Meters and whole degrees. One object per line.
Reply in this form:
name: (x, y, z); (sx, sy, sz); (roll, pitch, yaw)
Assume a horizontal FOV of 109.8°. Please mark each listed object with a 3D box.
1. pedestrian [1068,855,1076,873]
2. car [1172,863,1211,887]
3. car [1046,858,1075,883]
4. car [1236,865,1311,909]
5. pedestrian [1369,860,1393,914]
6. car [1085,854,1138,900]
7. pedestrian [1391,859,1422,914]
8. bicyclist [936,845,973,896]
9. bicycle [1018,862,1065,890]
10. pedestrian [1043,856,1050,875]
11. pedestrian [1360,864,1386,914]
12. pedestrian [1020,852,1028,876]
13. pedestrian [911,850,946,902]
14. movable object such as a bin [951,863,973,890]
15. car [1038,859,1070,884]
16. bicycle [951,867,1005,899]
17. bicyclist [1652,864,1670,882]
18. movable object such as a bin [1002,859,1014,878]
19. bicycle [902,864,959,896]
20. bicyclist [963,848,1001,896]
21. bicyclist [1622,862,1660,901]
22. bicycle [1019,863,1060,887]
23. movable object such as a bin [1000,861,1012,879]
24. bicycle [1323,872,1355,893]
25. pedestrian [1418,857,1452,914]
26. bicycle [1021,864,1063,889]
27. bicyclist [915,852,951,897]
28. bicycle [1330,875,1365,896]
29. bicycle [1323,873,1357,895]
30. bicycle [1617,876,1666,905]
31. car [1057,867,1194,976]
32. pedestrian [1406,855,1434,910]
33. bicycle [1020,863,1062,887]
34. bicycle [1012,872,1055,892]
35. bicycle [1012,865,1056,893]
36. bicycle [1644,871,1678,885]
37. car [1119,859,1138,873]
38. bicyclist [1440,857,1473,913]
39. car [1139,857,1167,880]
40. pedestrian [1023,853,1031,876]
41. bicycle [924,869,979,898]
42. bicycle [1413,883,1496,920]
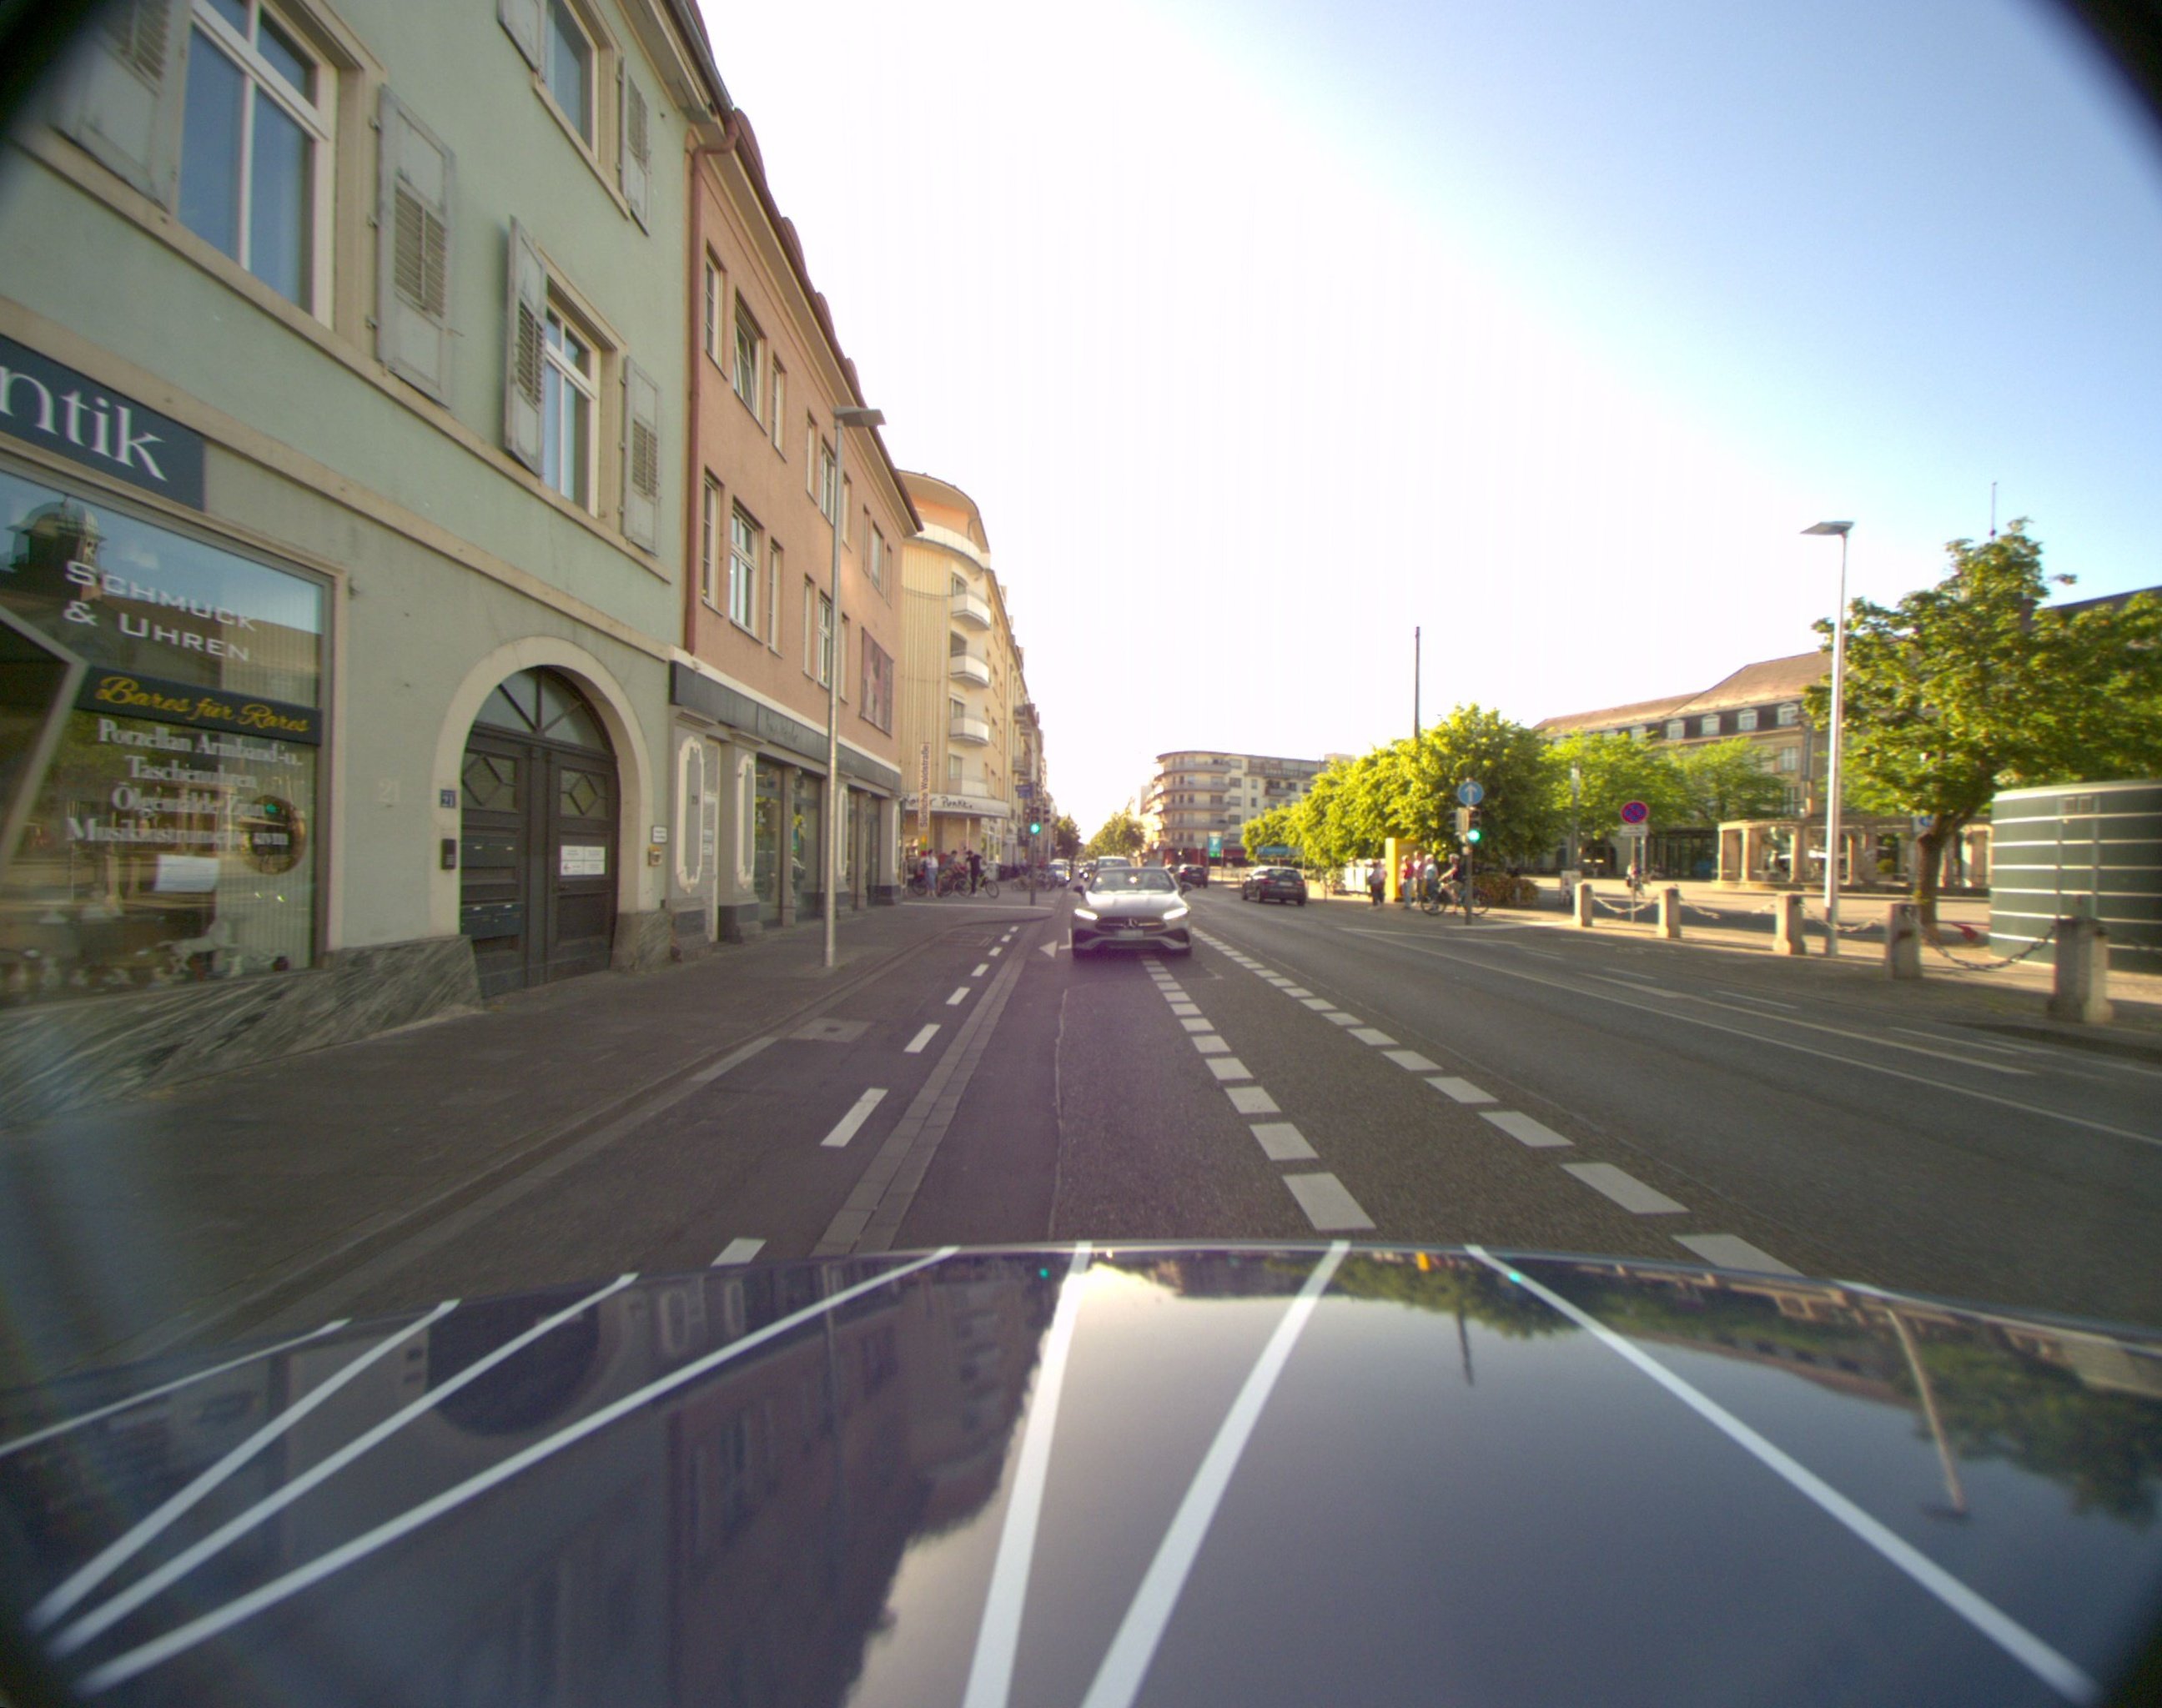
pedestrian: (-0.895, 1.041, 78.257); (0.610, 1.912, 0.714); (1, 0, 12)
car: (7.175, 1.334, 49.701); (1.753, 1.415, 4.254); (2, 0, -3)
car: (-1.508, 1.200, 55.769); (1.999, 1.724, 4.198); (1, 0, -2)
car: (7.249, 1.194, 29.030); (1.655, 1.389, 4.042); (5, 0, -2)
pedestrian: (10.406, 1.122, 26.334); (0.650, 1.846, 0.626); (1, 0, 31)
car: (1.166, 0.894, 30.753); (1.998, 1.717, 4.000); (1, 0, 0)
pedestrian: (10.920, 1.087, 25.499); (0.591, 1.801, 0.781); (1, 0, -44)
bicyclist: (-4.413, 0.583, 26.535); (1.142, 1.751, 0.752); (1, 0, -19)
bicycle: (-1.833, 1.035, 35.505); (2.142, 1.236, 0.710); (1, 0, -4)
pedestrian: (-3.428, 1.151, 74.824); (0.694, 1.895, 0.906); (1, 0, -3)
pedestrian: (9.916, 1.184, 25.816); (0.686, 1.663, 0.699); (1, 0, 31)
pedestrian: (-4.805, 0.838, 64.059); (0.673, 1.942, 0.615); (1, 0, -3)
pedestrian: (-4.998, 0.706, 24.904); (0.813, 1.649, 0.768); (1, 0, 37)
movable object such as a bin: (-5.039, 0.945, 32.262); (0.810, 1.106, 0.620); (1, 0, -1)
car: (-1.573, 1.019, 45.572); (1.693, 1.390, 4.001); (1, 0, 2)
bicycle: (-3.725, 1.042, 27.370); (1.910, 1.014, 0.561); (3, 1, 28)
bicyclist: (46.515, 1.520, 60.961); (0.951, 1.463, 0.647); (0, 0, 1)
movable object such as a bin: (-4.915, 0.993, 51.397); (0.703, 1.232, 0.960); (1, 0, 0)
bicycle: (-5.475, 0.926, 27.568); (1.915, 1.090, 0.735); (1, 0, 22)
bicyclist: (-3.539, 0.629, 27.192); (1.129, 1.675, 0.727); (1, 0, 27)
bicyclist: (23.916, 1.165, 32.464); (0.941, 1.599, 1.172); (1, 0, 18)
bicycle: (-2.129, 1.084, 39.153); (2.049, 1.174, 0.683); (1, 0, 1)
movable object such as a bin: (-4.897, 1.019, 49.629); (0.703, 1.153, 0.960); (1, 0, 0)
bicycle: (13.243, 1.473, 39.060); (1.529, 1.025, 0.364); (1, 0, 15)
pedestrian: (11.558, 1.019, 24.820); (0.590, 1.801, 0.782); (1, 0, -26)
bicycle: (-1.855, 1.082, 36.772); (1.962, 1.150, 0.755); (1, 0, 1)
bicyclist: (-5.354, 0.722, 27.533); (1.028, 1.574, 0.727); (1, 0, 22)
bicycle: (13.058, 1.518, 37.209); (1.559, 0.996, 0.364); (1, 0, -1)
bicycle: (12.862, 1.484, 37.692); (1.549, 1.025, 0.364); (1, 0, -1)
bicycle: (23.897, 1.526, 32.471); (0.941, 1.126, 2.483); (1, 0, 18)
car: (0.688, 0.993, 12.902); (1.910, 1.453, 4.364); (-1, 0, 2)
pedestrian: (11.830, 0.985, 26.526); (0.609, 1.907, 0.784); (1, 0, 2)
bicycle: (-1.983, 1.041, 38.084); (2.026, 1.143, 0.716); (2, 0, 1)
bicycle: (-2.129, 1.231, 33.951); (1.848, 0.826, 0.741); (1, 0, -6)
bicycle: (-2.133, 1.128, 34.518); (1.946, 1.205, 0.933); (1, 0, -6)
bicycle: (46.512, 1.944, 60.963); (2.122, 1.097, 0.697); (1, 0, 1)
car: (5.843, 1.469, 94.046); (1.846, 1.538, 4.239); (3, 0, -1)
bicyclist: (11.310, 0.903, 22.935); (0.803, 1.638, 0.995); (0, 0, 22)
car: (6.732, 1.348, 71.301); (1.999, 1.935, 4.783); (4, 0, -1)
pedestrian: (-4.495, 0.867, 63.315); (0.694, 1.895, 0.906); (1, 0, -3)
bicycle: (-4.516, 1.025, 26.504); (1.824, 0.988, 0.564); (1, 0, -20)
bicycle: (11.244, 1.424, 22.937); (2.171, 1.065, 0.765); (-2, -1, 21)
